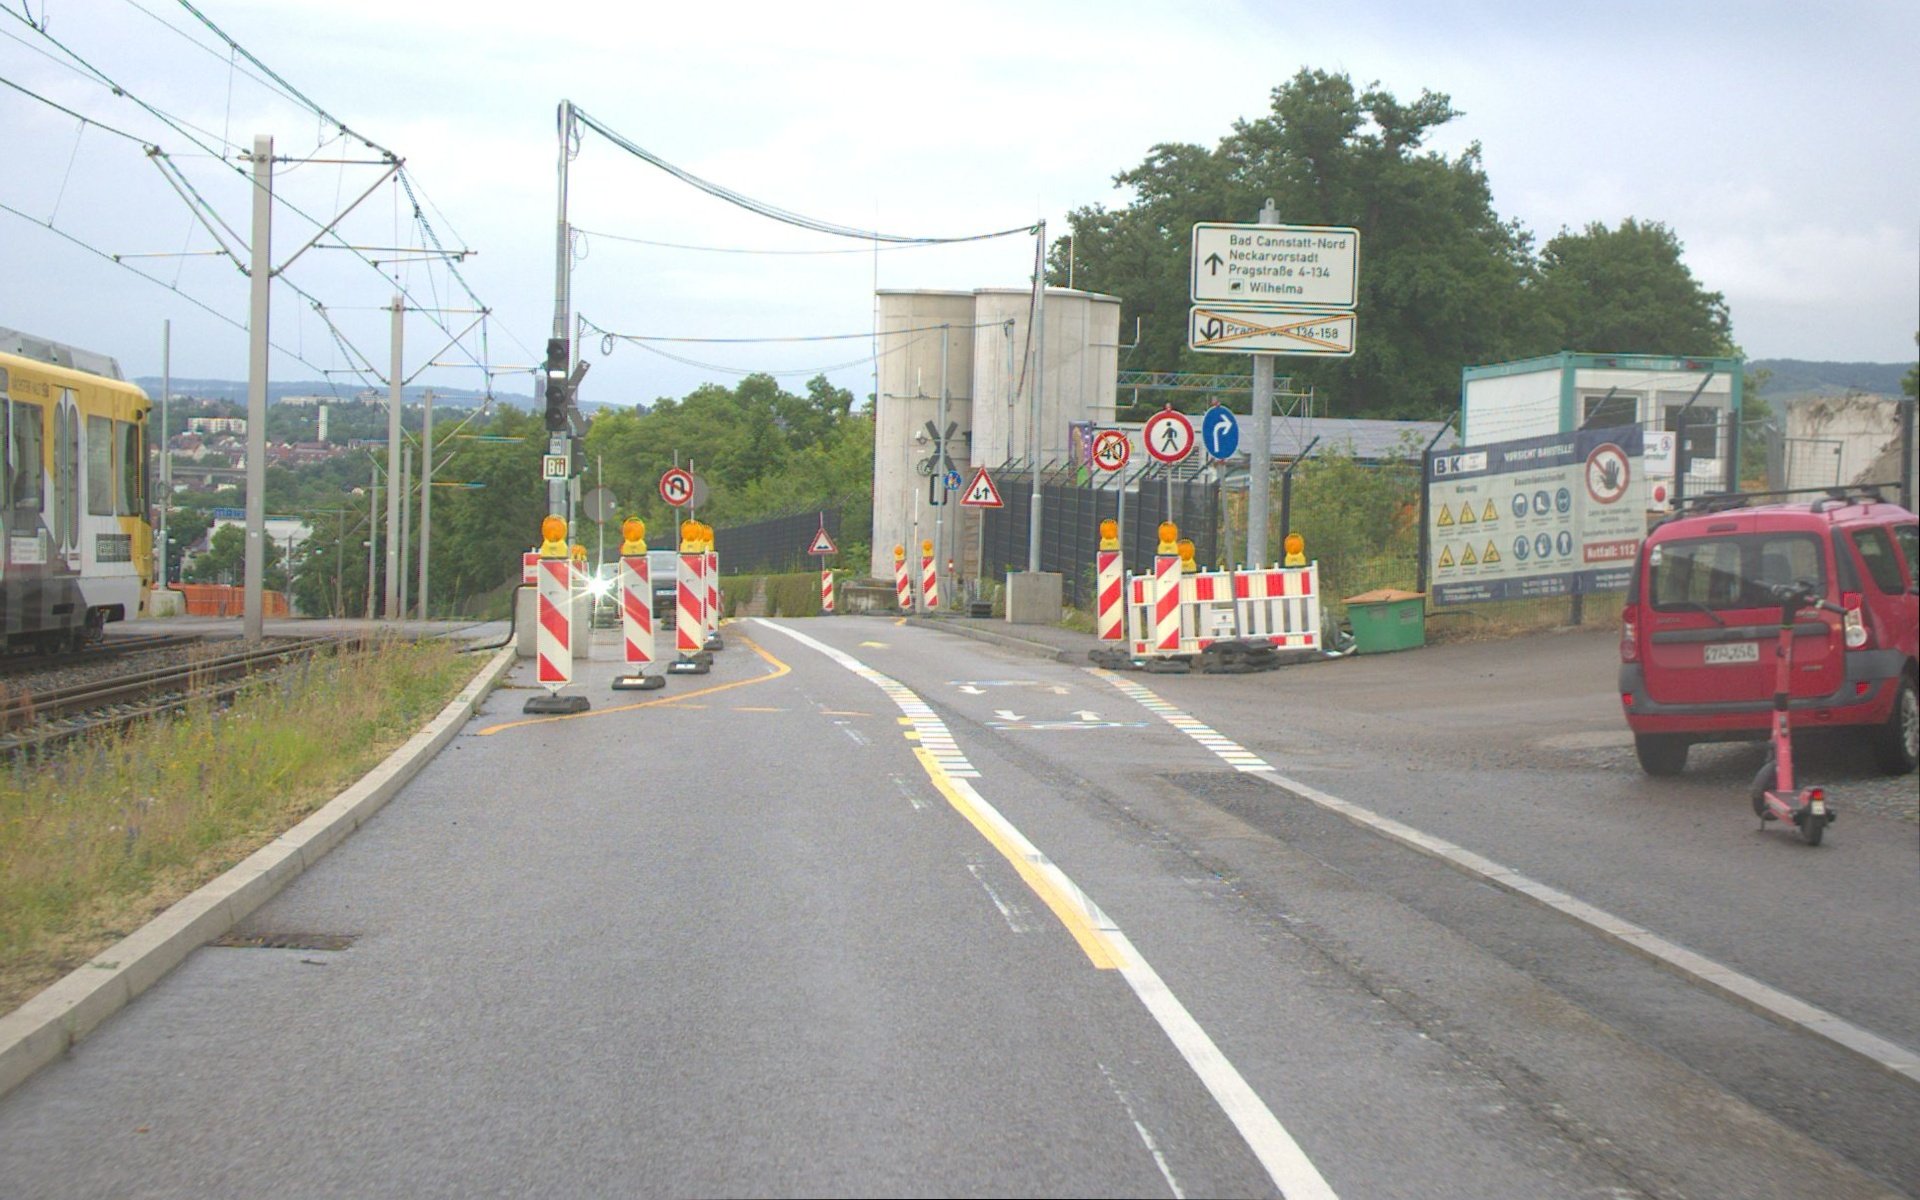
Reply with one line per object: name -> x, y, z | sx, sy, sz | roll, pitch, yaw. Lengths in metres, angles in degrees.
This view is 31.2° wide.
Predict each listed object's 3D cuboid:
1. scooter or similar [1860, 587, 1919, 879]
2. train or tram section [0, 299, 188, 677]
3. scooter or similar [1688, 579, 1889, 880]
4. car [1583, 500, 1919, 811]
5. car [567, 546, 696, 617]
scooter or similar -> 4.863, 0.632, 16.627 | 0.615, 1.346, 1.912 | 1, 1, 4
train or tram section -> -11.355, -1.200, 35.840 | 2.955, 3.872, 19.293 | 2, 1, -2
scooter or similar -> 4.015, 0.590, 16.781 | 0.615, 1.346, 1.912 | 1, 1, 4
car -> 5.642, 0.284, 22.352 | 1.822, 1.787, 4.402 | 2, 1, 29
car -> -8.002, -0.442, 83.319 | 1.993, 1.672, 4.490 | 0, 0, -21
